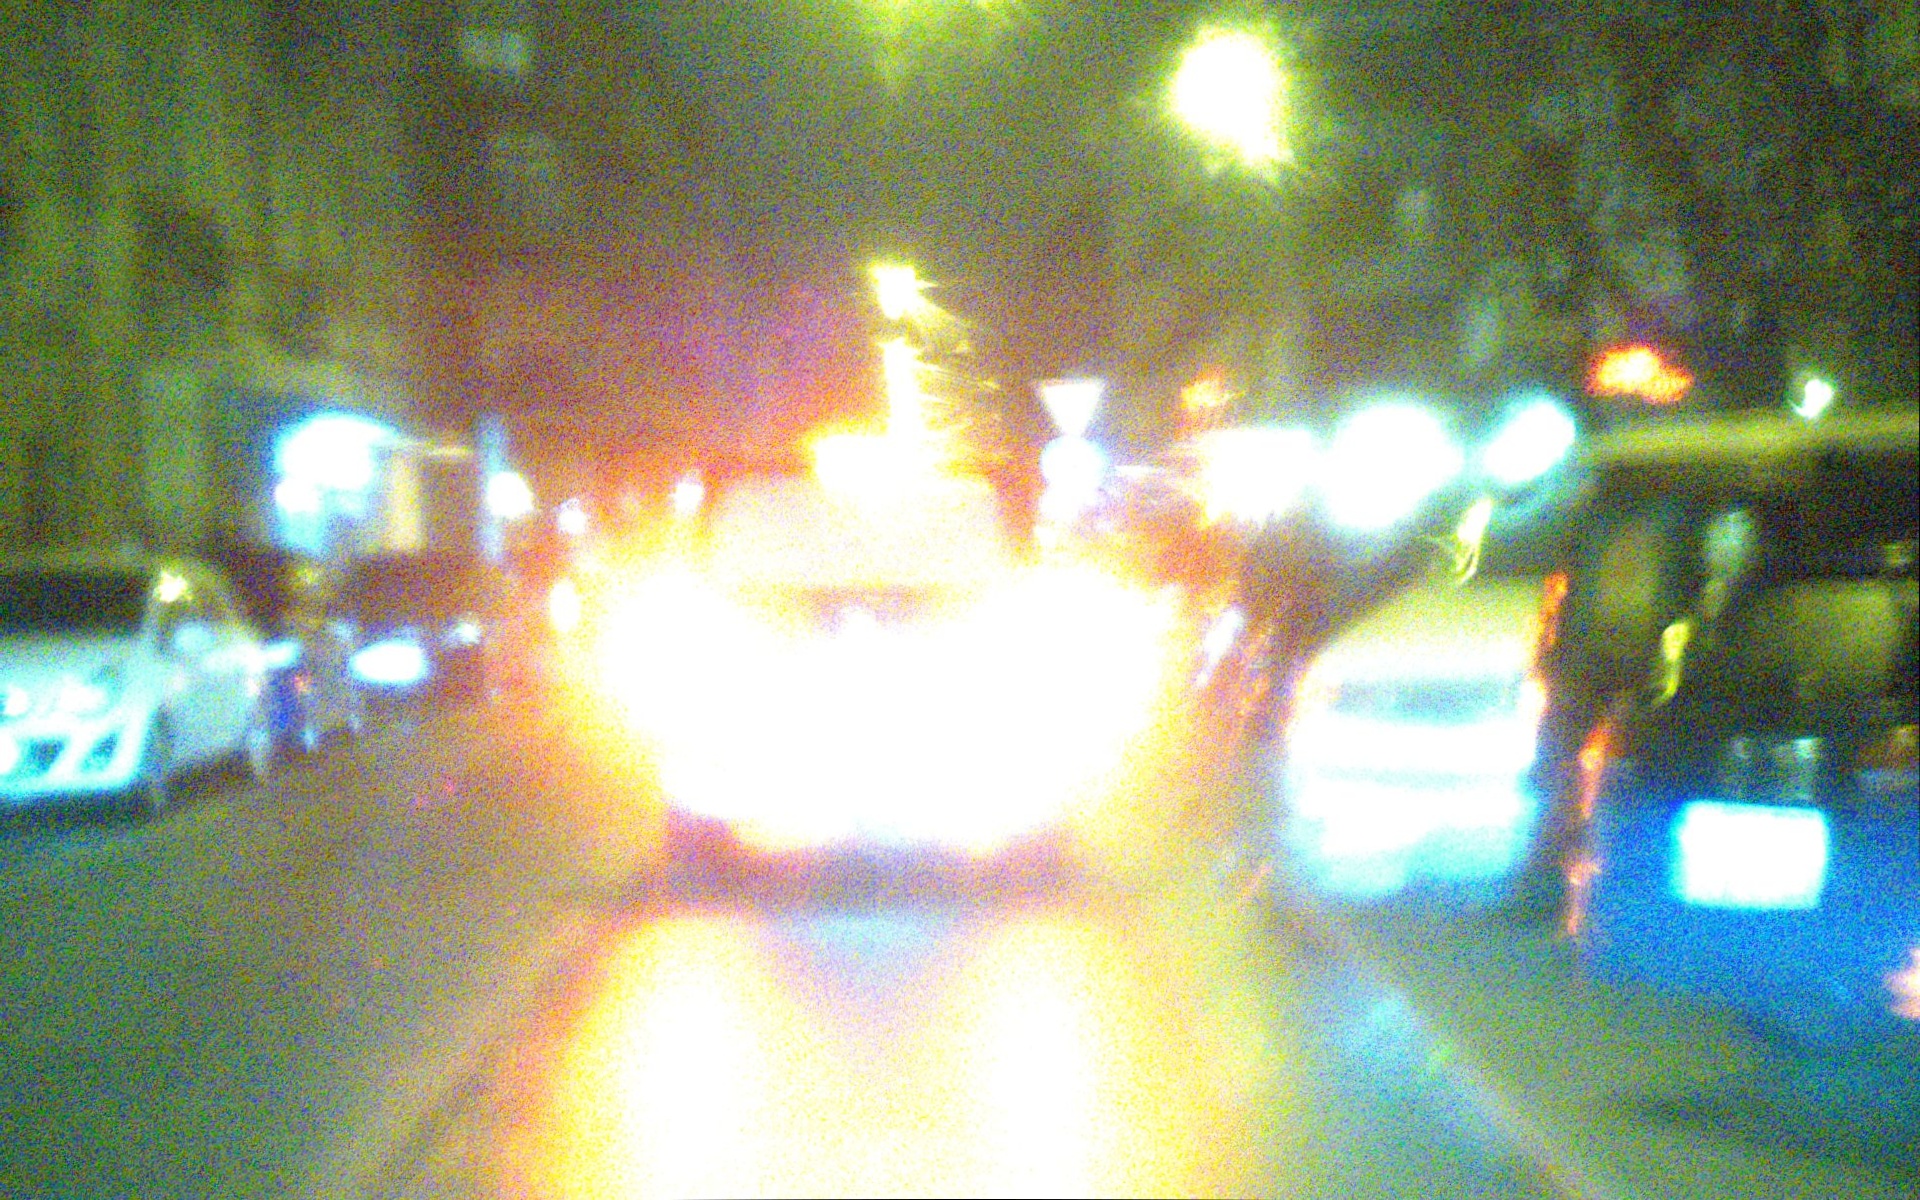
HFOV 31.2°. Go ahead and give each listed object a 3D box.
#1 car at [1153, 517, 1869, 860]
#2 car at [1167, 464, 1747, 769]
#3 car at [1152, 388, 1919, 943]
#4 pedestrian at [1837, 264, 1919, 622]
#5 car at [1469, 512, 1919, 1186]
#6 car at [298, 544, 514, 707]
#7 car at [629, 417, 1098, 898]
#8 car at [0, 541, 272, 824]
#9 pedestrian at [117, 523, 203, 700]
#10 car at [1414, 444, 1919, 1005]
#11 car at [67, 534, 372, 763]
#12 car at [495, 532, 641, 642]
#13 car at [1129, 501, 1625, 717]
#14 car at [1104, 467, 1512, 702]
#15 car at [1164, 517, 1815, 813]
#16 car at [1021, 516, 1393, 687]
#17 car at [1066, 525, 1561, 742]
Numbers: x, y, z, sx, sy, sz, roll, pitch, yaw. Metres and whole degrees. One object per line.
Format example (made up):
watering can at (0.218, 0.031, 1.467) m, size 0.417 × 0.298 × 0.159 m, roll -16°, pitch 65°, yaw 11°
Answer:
car at (2.879, 0.403, 17.746) m, size 3.504 × 1.489 × 1.450 m, roll -3°, pitch 1°, yaw -32°
car at (3.441, 0.074, 23.550) m, size 3.739 × 1.834 × 1.726 m, roll -3°, pitch 1°, yaw -37°
car at (3.393, 0.177, 14.759) m, size 4.784 × 2.042 × 2.067 m, roll -1°, pitch 1°, yaw -31°
pedestrian at (9.277, -1.545, 34.172) m, size 0.891 × 3.515 × 0.791 m, roll 0°, pitch 1°, yaw -1°
car at (3.535, 0.466, 9.190) m, size 3.987 × 1.487 × 1.735 m, roll -3°, pitch 1°, yaw -28°
car at (-5.567, 0.213, 34.955) m, size 1.812 × 1.552 × 4.077 m, roll 0°, pitch 1°, yaw -4°
car at (-0.433, 0.235, 16.693) m, size 1.993 × 2.043 × 4.000 m, roll 0°, pitch 0°, yaw -1°
car at (-5.154, 0.399, 19.829) m, size 1.587 × 1.477 × 3.793 m, roll 0°, pitch 1°, yaw 0°
pedestrian at (-7.720, 0.109, 33.197) m, size 0.701 × 1.698 × 0.539 m, roll 0°, pitch 1°, yaw 0°
car at (3.573, 0.313, 12.161) m, size 3.554 × 1.705 × 1.646 m, roll -3°, pitch 1°, yaw -29°
car at (-5.383, 0.295, 25.419) m, size 1.655 × 1.552 × 4.077 m, roll 0°, pitch 1°, yaw -4°
car at (-6.144, -0.231, 54.196) m, size 1.883 × 1.679 × 4.000 m, roll 0°, pitch 1°, yaw -1°
car at (3.642, 0.048, 29.774) m, size 3.988 × 1.582 × 1.880 m, roll -4°, pitch 2°, yaw -36°
car at (3.272, -0.162, 32.049) m, size 3.555 × 1.984 × 1.605 m, roll -3°, pitch 1°, yaw -37°
car at (3.161, 0.340, 20.294) m, size 3.555 × 1.479 × 1.726 m, roll -3°, pitch 1°, yaw -36°
car at (2.541, 0.000, 35.092) m, size 3.555 × 1.585 × 1.605 m, roll -2°, pitch 0°, yaw -37°
car at (2.781, 0.234, 26.771) m, size 3.555 × 1.448 × 1.672 m, roll -3°, pitch 1°, yaw -36°
